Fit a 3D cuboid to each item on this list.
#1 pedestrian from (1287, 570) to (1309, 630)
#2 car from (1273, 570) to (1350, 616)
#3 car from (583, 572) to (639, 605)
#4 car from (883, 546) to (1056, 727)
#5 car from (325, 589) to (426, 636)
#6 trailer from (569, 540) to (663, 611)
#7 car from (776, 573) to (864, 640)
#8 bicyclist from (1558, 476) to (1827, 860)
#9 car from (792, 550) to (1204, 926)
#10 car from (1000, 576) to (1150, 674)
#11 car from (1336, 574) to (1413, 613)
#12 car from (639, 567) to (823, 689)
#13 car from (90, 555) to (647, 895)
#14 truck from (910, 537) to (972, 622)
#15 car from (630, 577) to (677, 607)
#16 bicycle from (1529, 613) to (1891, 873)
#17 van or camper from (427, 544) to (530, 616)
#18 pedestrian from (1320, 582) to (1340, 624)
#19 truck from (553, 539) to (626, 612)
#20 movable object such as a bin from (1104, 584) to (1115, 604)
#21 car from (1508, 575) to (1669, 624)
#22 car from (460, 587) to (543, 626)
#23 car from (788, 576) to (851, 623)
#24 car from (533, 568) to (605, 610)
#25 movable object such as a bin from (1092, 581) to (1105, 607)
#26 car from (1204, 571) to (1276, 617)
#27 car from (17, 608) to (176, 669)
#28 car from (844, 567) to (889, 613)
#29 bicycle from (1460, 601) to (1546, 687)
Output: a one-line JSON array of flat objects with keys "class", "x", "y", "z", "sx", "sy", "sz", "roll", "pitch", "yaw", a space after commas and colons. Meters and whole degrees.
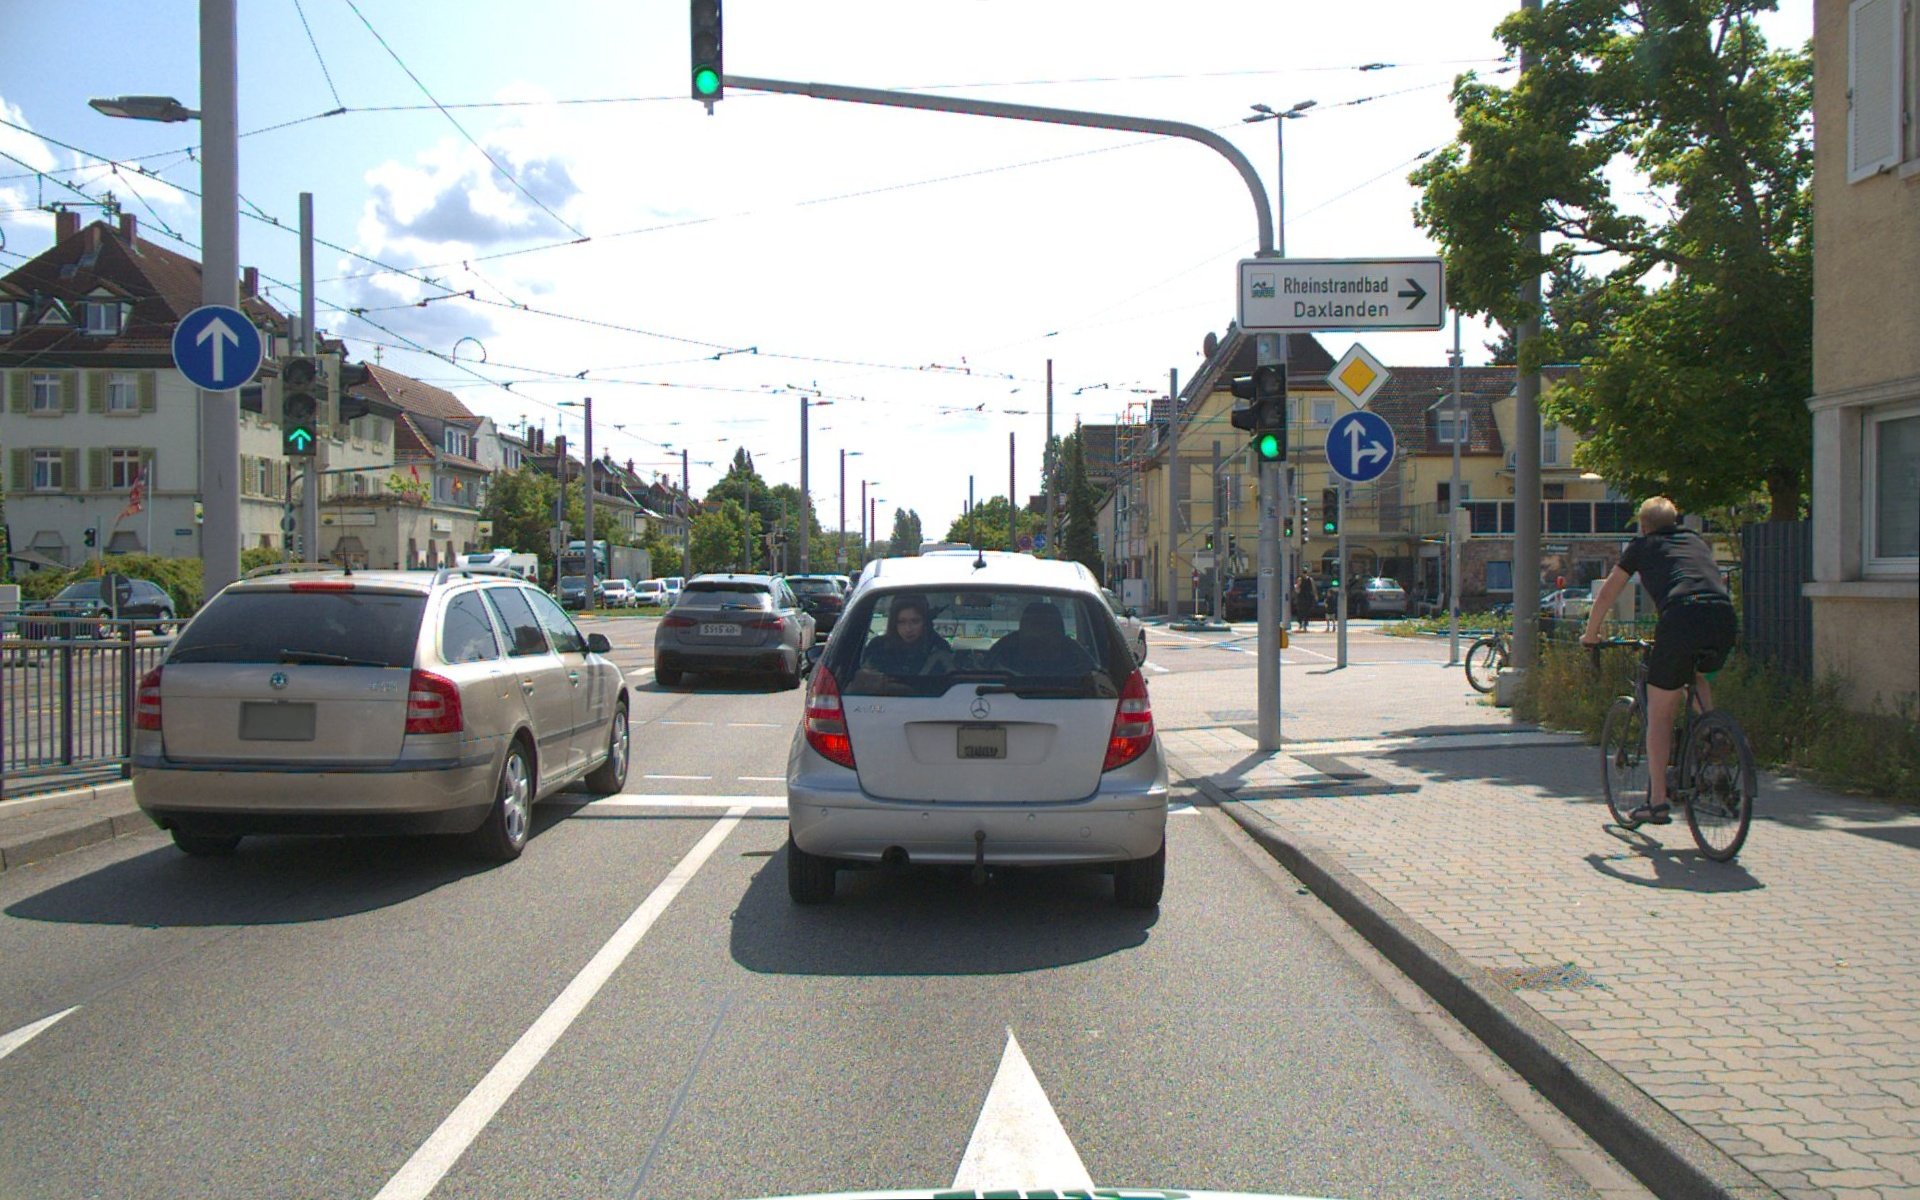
[{"class": "pedestrian", "x": 9.463, "y": -0.002, "z": 46.283, "sx": 0.535, "sy": 1.672, "sz": 0.401, "roll": 1, "pitch": 0, "yaw": 4}, {"class": "car", "x": 13.234, "y": -0.257, "z": 62.499, "sx": 1.953, "sy": 1.624, "sz": 4.130, "roll": 1, "pitch": 0, "yaw": -1}, {"class": "car", "x": -17.992, "y": -0.580, "z": 85.344, "sx": 1.953, "sy": 1.579, "sz": 4.177, "roll": -4, "pitch": 0, "yaw": 0}, {"class": "car", "x": 0.002, "y": 0.366, "z": 18.710, "sx": 1.695, "sy": 1.793, "sz": 4.014, "roll": 1, "pitch": 0, "yaw": -3}, {"class": "car", "x": -18.017, "y": 0.368, "z": 51.145, "sx": 1.650, "sy": 1.375, "sz": 4.177, "roll": 1, "pitch": 0, "yaw": 0}, {"class": "trailer", "x": -20.686, "y": -1.539, "z": 100.262, "sx": 2.545, "sy": 3.887, "sz": 12.840, "roll": -3, "pitch": 1, "yaw": 1}, {"class": "car", "x": -3.169, "y": 0.141, "z": 38.123, "sx": 1.815, "sy": 1.412, "sz": 4.512, "roll": 1, "pitch": 0, "yaw": -3}, {"class": "bicyclist", "x": 3.725, "y": 0.314, "z": 8.500, "sx": 0.812, "sy": 1.825, "sz": 1.083, "roll": -2, "pitch": 1, "yaw": -5}, {"class": "car", "x": 0.062, "y": 0.578, "z": 8.904, "sx": 1.695, "sy": 1.543, "sz": 4.014, "roll": 1, "pitch": 0, "yaw": -3}, {"class": "car", "x": 2.036, "y": 0.368, "z": 28.135, "sx": 1.693, "sy": 1.428, "sz": 4.020, "roll": 1, "pitch": 2, "yaw": 17}, {"class": "car", "x": 15.638, "y": -0.230, "z": 62.606, "sx": 1.829, "sy": 1.375, "sz": 4.130, "roll": 1, "pitch": 0, "yaw": -1}, {"class": "car", "x": -3.089, "y": 0.343, "z": 23.215, "sx": 1.877, "sy": 1.503, "sz": 4.562, "roll": 1, "pitch": 0, "yaw": 0}, {"class": "car", "x": -3.011, "y": 0.527, "z": 9.393, "sx": 1.696, "sy": 1.474, "sz": 4.123, "roll": 1, "pitch": 1, "yaw": -1}, {"class": "truck", "x": -0.678, "y": -0.645, "z": 54.396, "sx": 1.815, "sy": 2.597, "sz": 5.852, "roll": 1, "pitch": 0, "yaw": -3}, {"class": "car", "x": -17.686, "y": -0.451, "z": 95.605, "sx": 1.757, "sy": 1.665, "sz": 4.472, "roll": -1, "pitch": 0, "yaw": 1}, {"class": "bicycle", "x": 3.734, "y": 0.650, "z": 8.460, "sx": 0.812, "sy": 1.094, "sz": 1.969, "roll": -2, "pitch": 1, "yaw": -5}, {"class": "van or camper", "x": -20.975, "y": -0.866, "z": 72.459, "sx": 2.276, "sy": 2.981, "sz": 7.754, "roll": -1, "pitch": 1, "yaw": 0}, {"class": "pedestrian", "x": 10.330, "y": 0.086, "z": 46.197, "sx": 0.477, "sy": 1.156, "sz": 0.389, "roll": 1, "pitch": 0, "yaw": 7}, {"class": "truck", "x": -20.854, "y": -1.408, "z": 93.418, "sx": 2.545, "sy": 3.887, "sz": 5.669, "roll": -3, "pitch": 1, "yaw": 2}, {"class": "movable object such as a bin", "x": 7.101, "y": -0.291, "z": 78.650, "sx": 0.458, "sy": 0.963, "sz": 0.558, "roll": -1, "pitch": 0, "yaw": -1}, {"class": "car", "x": 19.022, "y": -0.013, "z": 50.155, "sx": 4.230, "sy": 1.352, "sz": 1.738, "roll": -1, "pitch": 0, "yaw": -4}, {"class": "car", "x": -17.368, "y": 0.236, "z": 62.837, "sx": 1.953, "sy": 1.375, "sz": 4.177, "roll": 1, "pitch": 0, "yaw": 0}, {"class": "car", "x": -4.472, "y": -0.010, "z": 53.069, "sx": 1.815, "sy": 1.412, "sz": 3.916, "roll": 1, "pitch": 0, "yaw": -3}, {"class": "car", "x": -17.778, "y": -0.516, "z": 75.510, "sx": 1.952, "sy": 1.807, "sz": 4.879, "roll": -2, "pitch": 1, "yaw": 2}, {"class": "movable object such as a bin", "x": 6.094, "y": -0.264, "z": 72.861, "sx": 0.501, "sy": 1.124, "sz": 0.855, "roll": 0, "pitch": 0, "yaw": 0}, {"class": "car", "x": 10.474, "y": -0.208, "z": 62.199, "sx": 1.953, "sy": 1.624, "sz": 4.130, "roll": 1, "pitch": 0, "yaw": -1}, {"class": "car", "x": -21.270, "y": 0.904, "z": 40.948, "sx": 1.650, "sy": 1.375, "sz": 4.345, "roll": 1, "pitch": 0, "yaw": 0}, {"class": "car", "x": -3.955, "y": -0.428, "z": 70.215, "sx": 1.815, "sy": 1.875, "sz": 3.916, "roll": 1, "pitch": 0, "yaw": -3}, {"class": "bicycle", "x": 6.904, "y": 0.547, "z": 20.972, "sx": 0.454, "sy": 1.036, "sz": 1.747, "roll": 1, "pitch": 0, "yaw": 38}]
